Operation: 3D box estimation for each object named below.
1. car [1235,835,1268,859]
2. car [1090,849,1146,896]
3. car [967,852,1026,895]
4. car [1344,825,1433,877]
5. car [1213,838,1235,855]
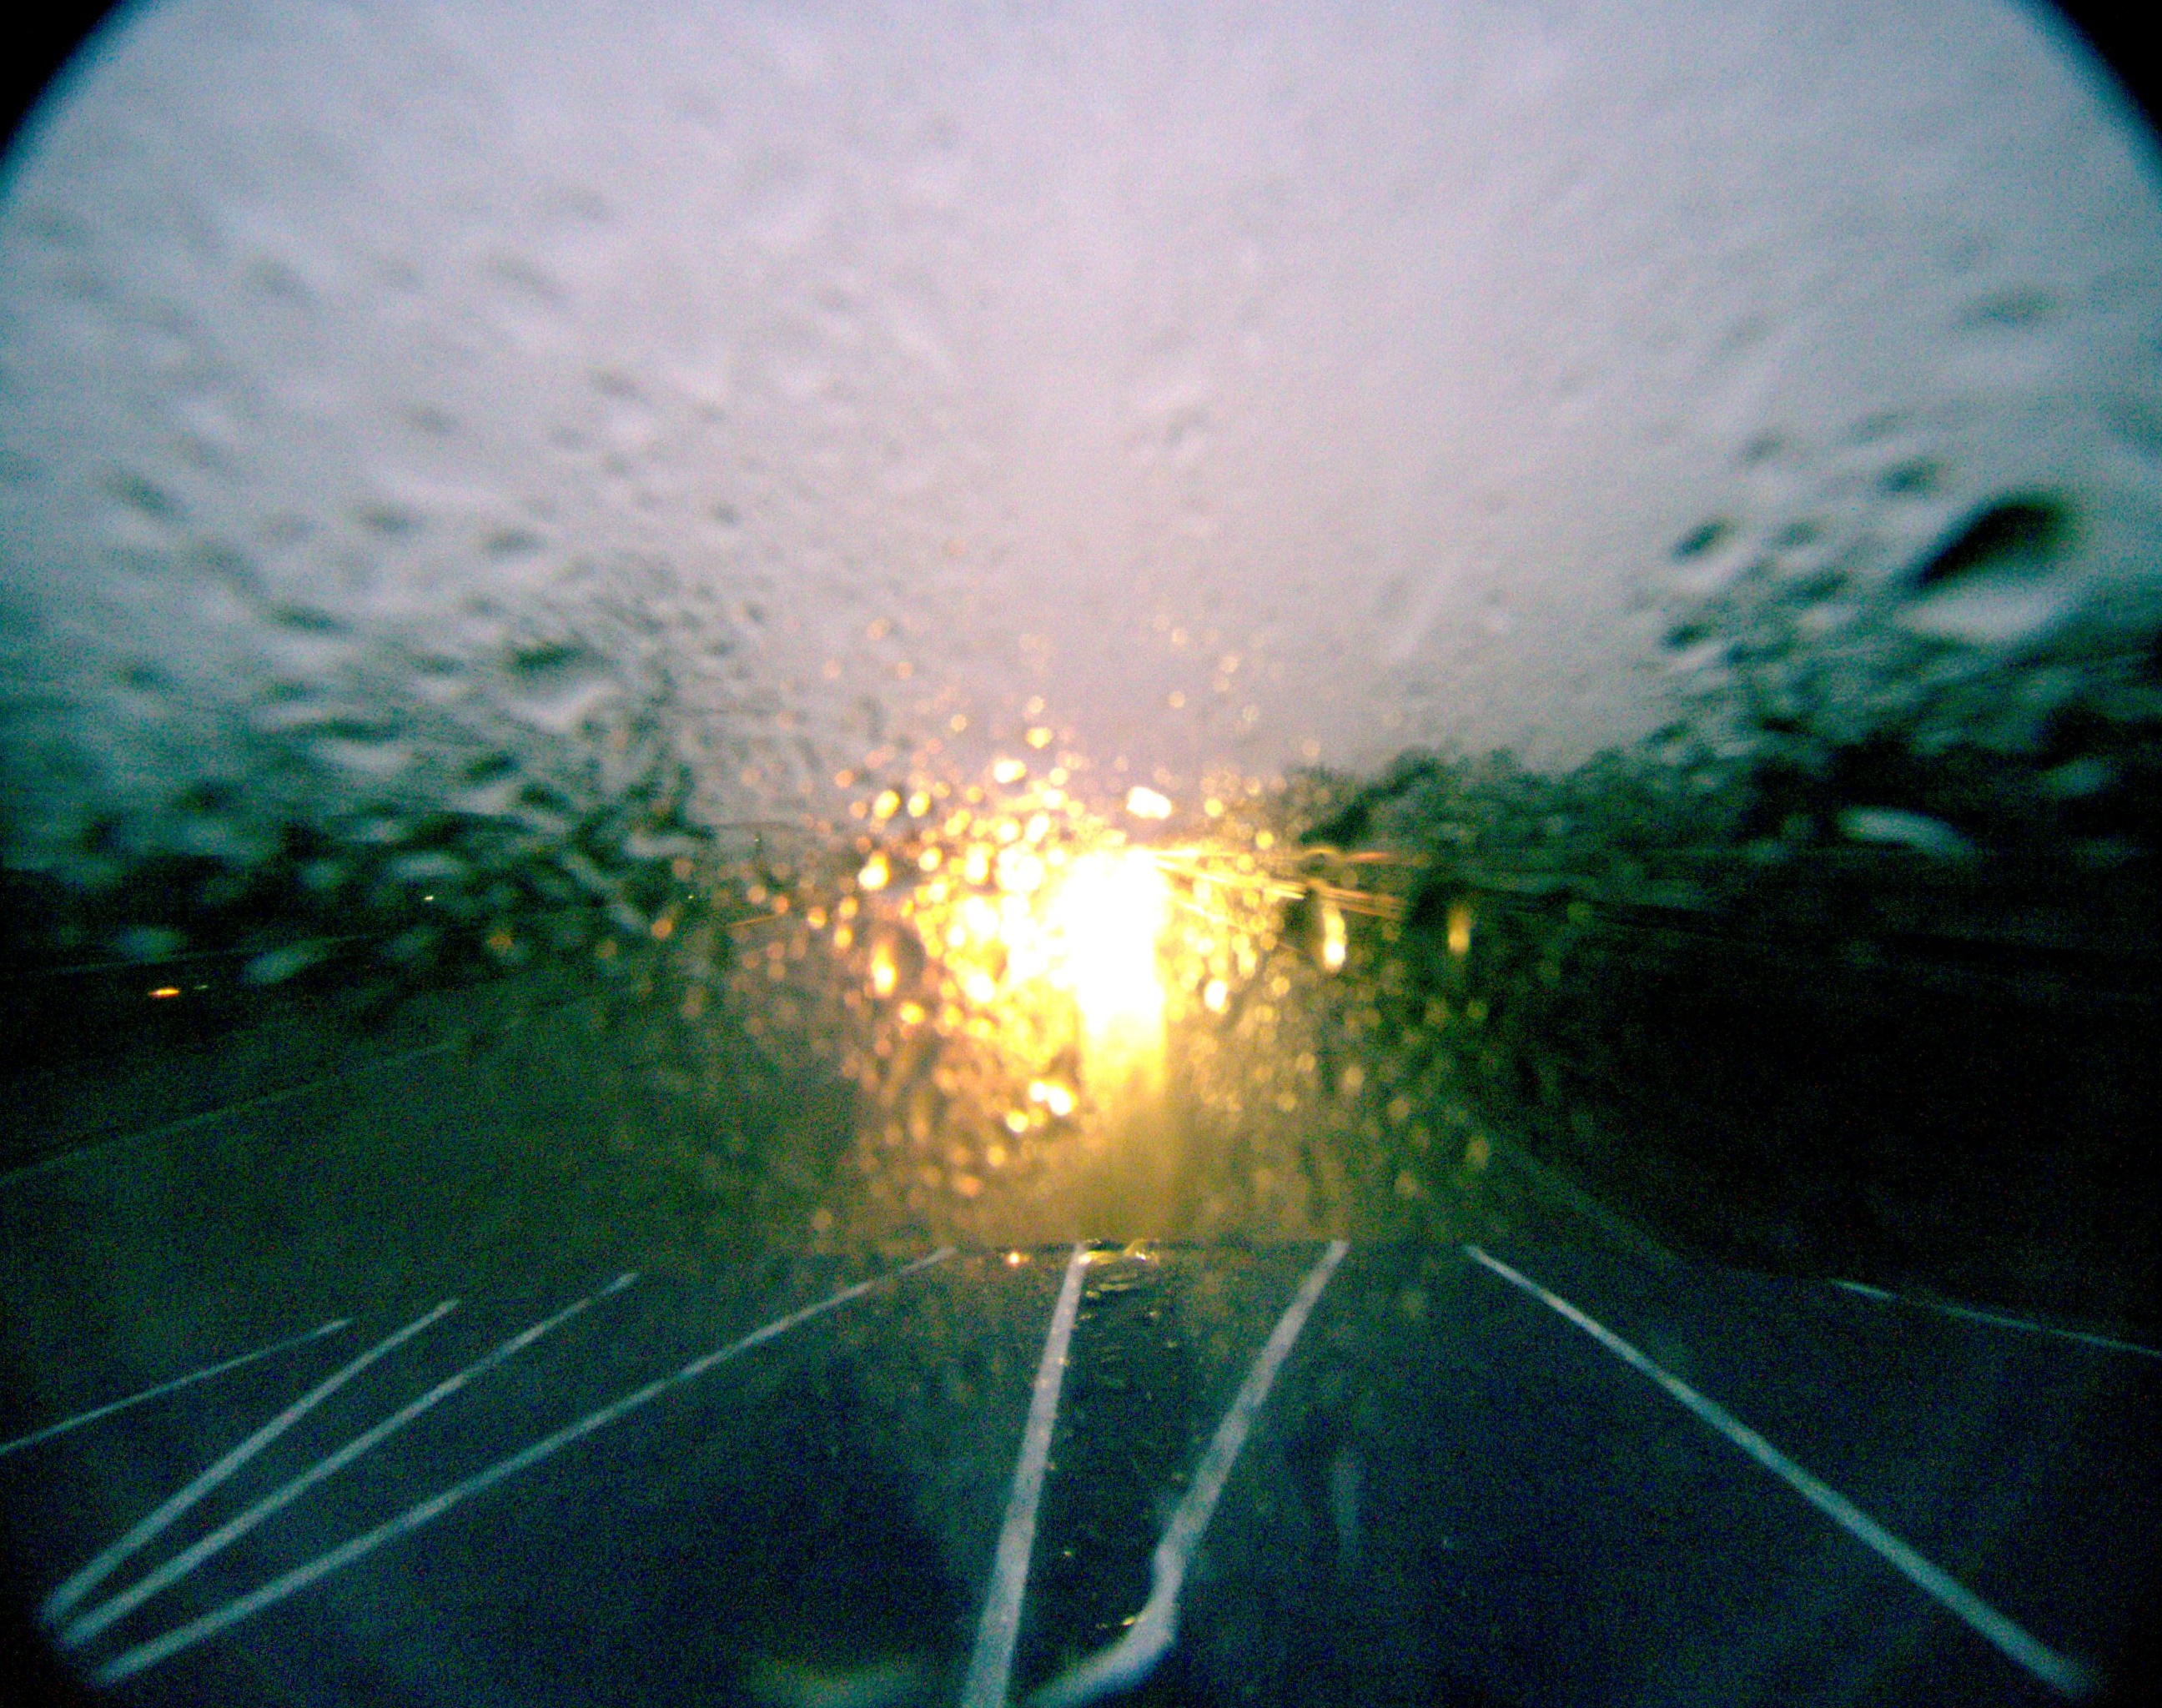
[{"bbox_3d":[14.519,-0.577,64.937,1.850,1.904,4.303,-2,1,1],"label":"car"},{"bbox_3d":[1.281,0.626,27.893,1.850,1.521,4.148,-2,1,1],"label":"car"},{"bbox_3d":[-3.392,0.745,31.208,1.850,1.521,4.148,-2,1,1],"label":"car"},{"bbox_3d":[12.367,-0.147,30.833,1.850,1.904,4.303,-2,1,1],"label":"car"},{"bbox_3d":[16.587,-0.861,88.251,1.850,1.793,3.993,-2,1,1],"label":"car"}]
